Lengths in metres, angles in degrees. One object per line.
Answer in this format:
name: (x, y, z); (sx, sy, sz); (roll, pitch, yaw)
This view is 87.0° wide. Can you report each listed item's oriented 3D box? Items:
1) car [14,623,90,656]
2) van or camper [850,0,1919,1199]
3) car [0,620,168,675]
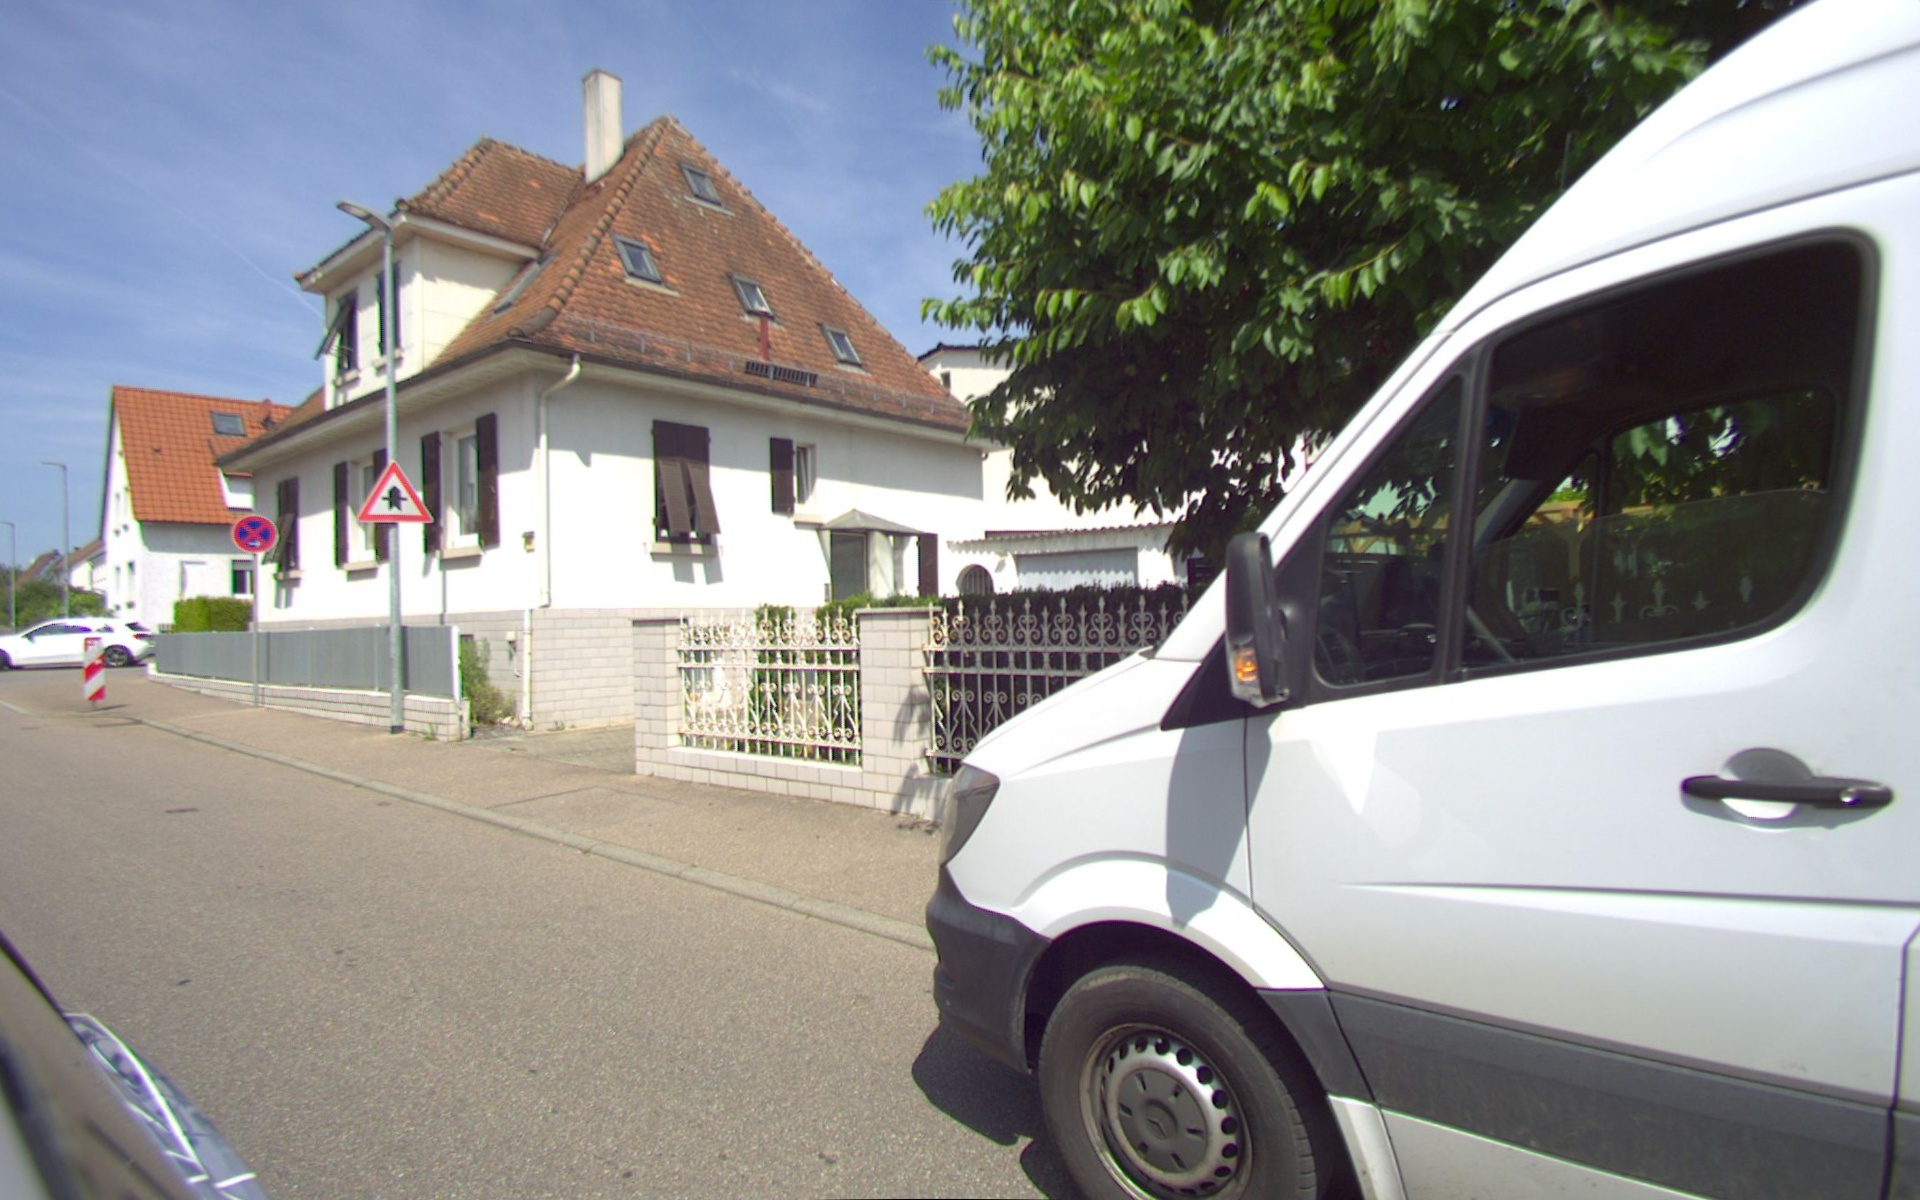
car: (-43.666, 1.849, 48.750); (1.802, 1.442, 4.577); (-1, 0, -30)
van or camper: (3.008, 0.022, 1.414); (6.802, 2.591, 2.162); (-2, 0, 40)
car: (-25.729, 1.335, 29.035); (4.417, 1.408, 1.935); (-1, 0, -27)
